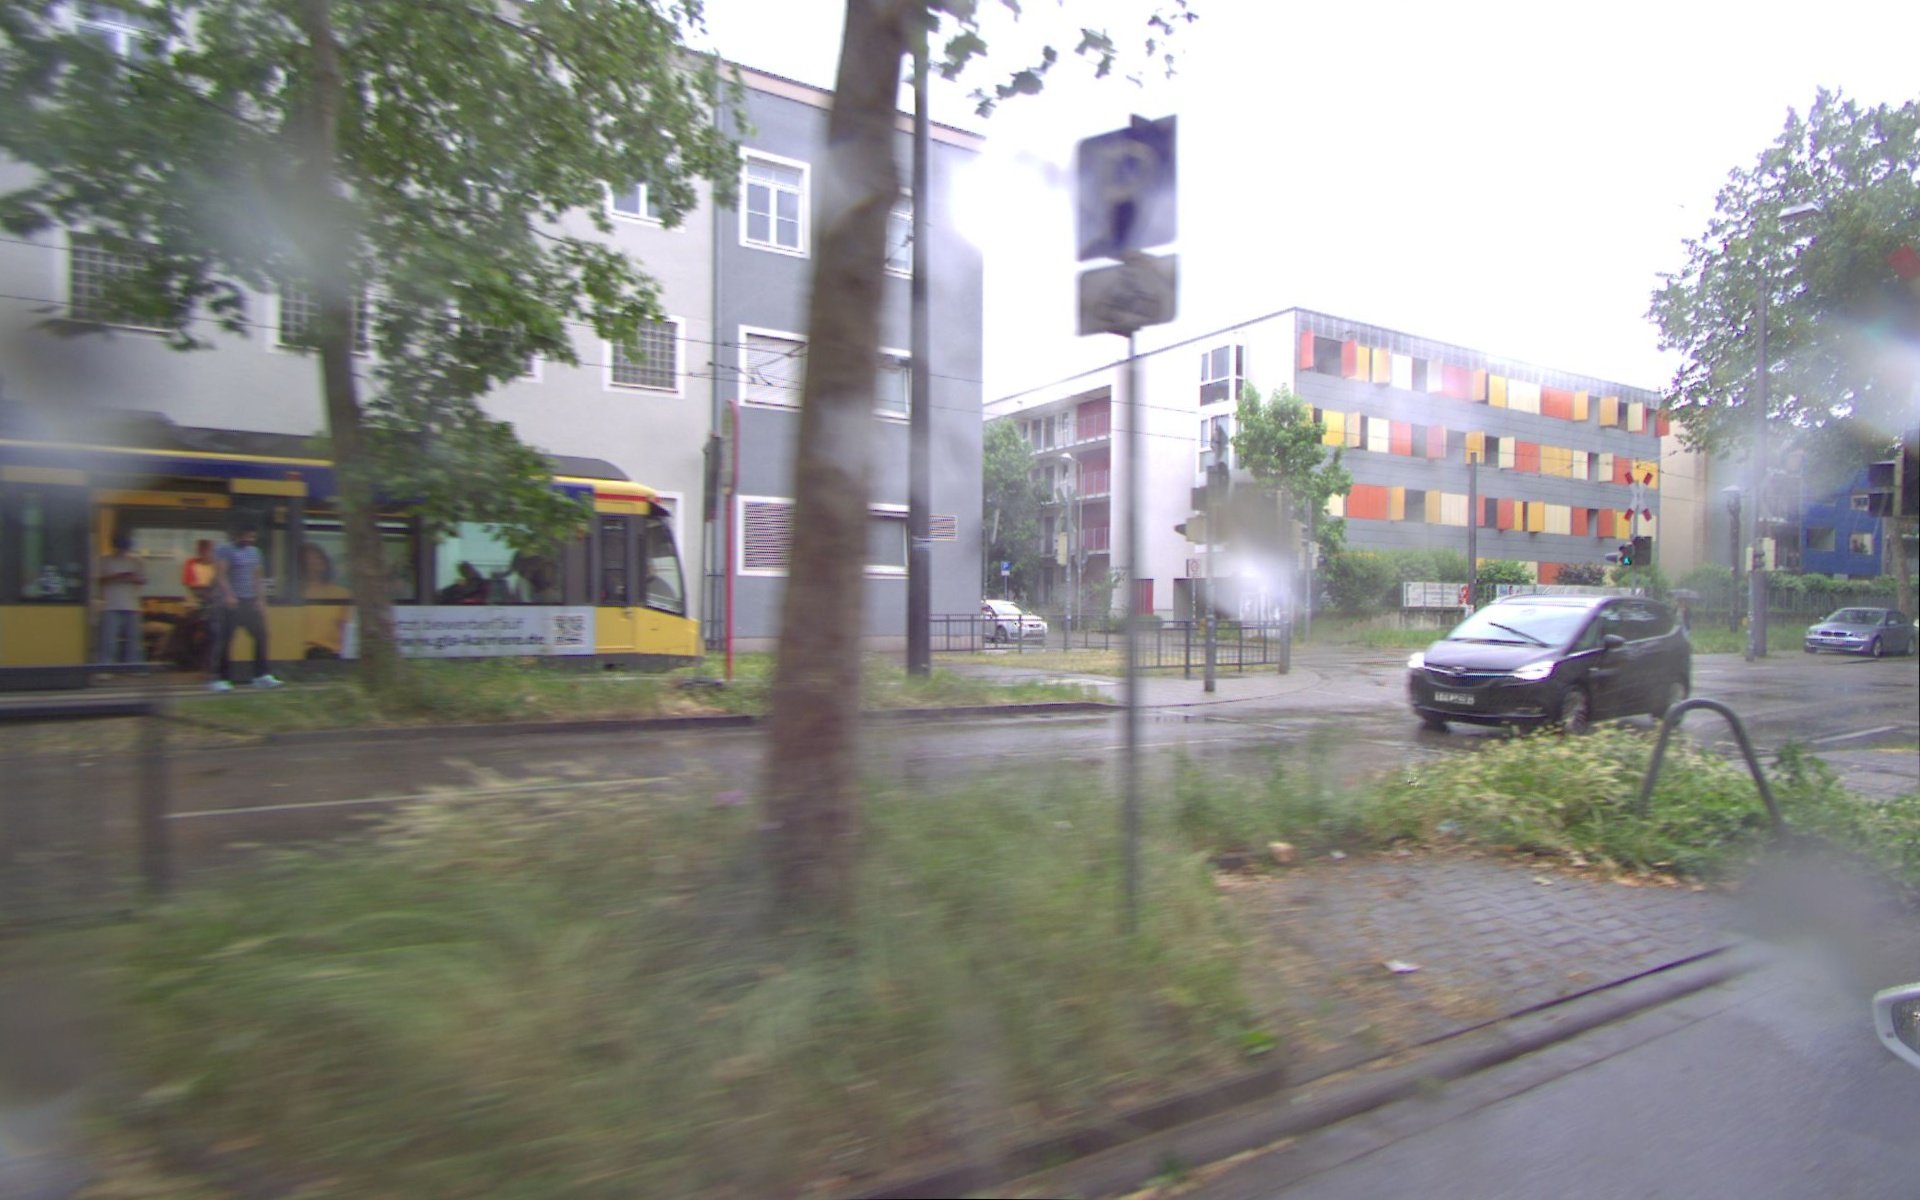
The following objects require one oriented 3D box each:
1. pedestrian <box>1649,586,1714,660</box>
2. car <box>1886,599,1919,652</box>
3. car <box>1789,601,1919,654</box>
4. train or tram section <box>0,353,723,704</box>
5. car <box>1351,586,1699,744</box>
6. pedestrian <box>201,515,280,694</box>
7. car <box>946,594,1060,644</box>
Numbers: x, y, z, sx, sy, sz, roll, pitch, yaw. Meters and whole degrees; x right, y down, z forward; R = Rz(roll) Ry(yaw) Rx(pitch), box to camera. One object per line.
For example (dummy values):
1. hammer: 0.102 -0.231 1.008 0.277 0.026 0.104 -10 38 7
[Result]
1. pedestrian: 18.308 0.573 25.496 1.192 1.824 0.931 1 0 -31
2. car: 33.653 0.885 34.323 3.954 1.751 1.864 1 1 -31
3. car: 27.416 0.801 30.645 4.336 1.483 1.895 0 1 -30
4. train or tram section: -9.064 -0.744 12.843 11.418 3.691 2.885 1 1 -31
5. car: 7.178 0.672 12.607 4.627 1.640 2.042 0 1 -36
6. pedestrian: -7.858 0.044 10.991 0.628 1.880 0.658 0 1 -30
7. car: 1.379 0.591 33.990 1.868 1.548 4.053 0 1 -33
